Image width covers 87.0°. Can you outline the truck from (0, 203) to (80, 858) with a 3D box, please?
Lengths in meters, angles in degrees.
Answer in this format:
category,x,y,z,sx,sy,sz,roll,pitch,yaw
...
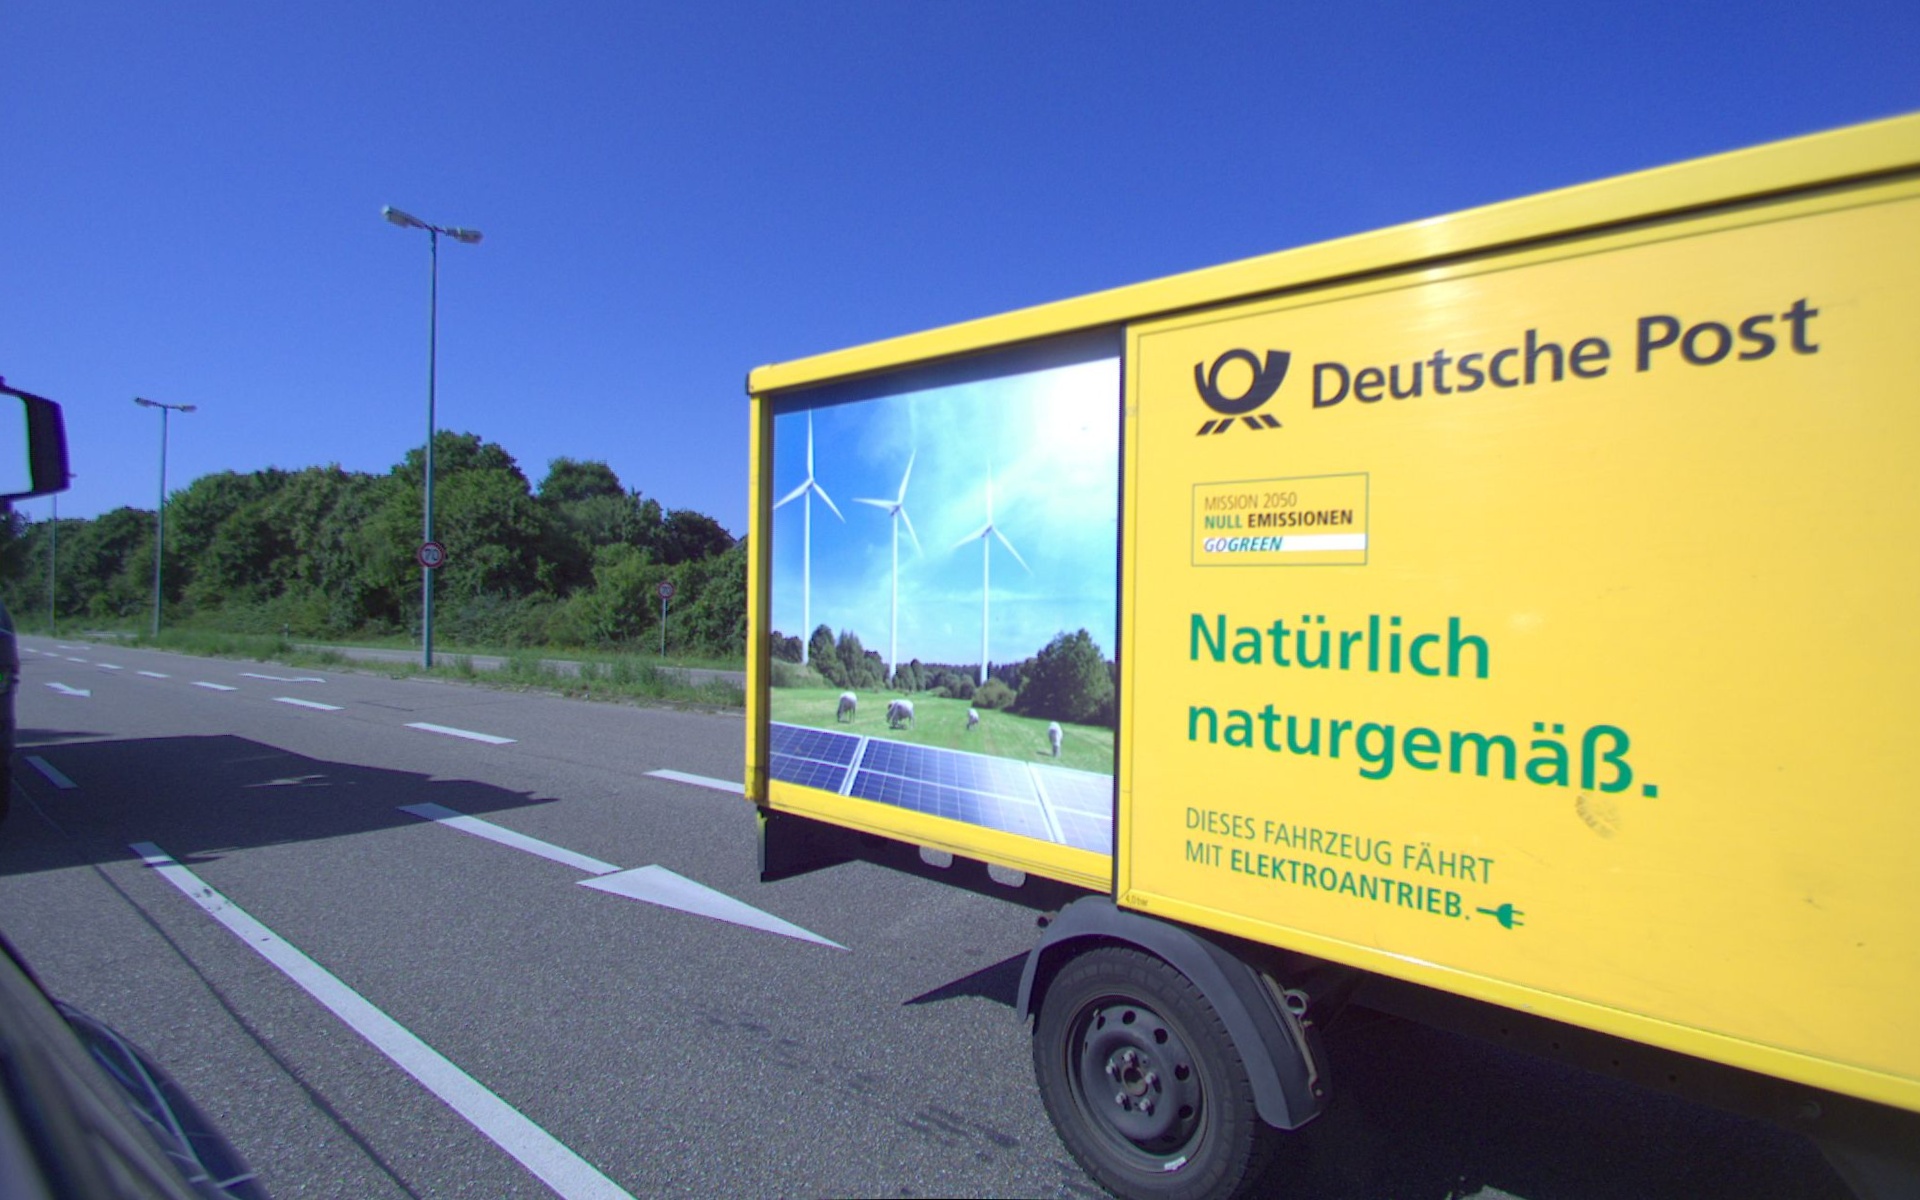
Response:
category,x,y,z,sx,sy,sz,roll,pitch,yaw
truck,-8.869,-0.390,7.455,6.591,3.904,2.901,0,0,43

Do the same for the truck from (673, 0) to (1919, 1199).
category,x,y,z,sx,sy,sz,roll,pitch,yaw
truck,1.887,0.126,2.354,5.915,2.476,2.089,-1,0,42
